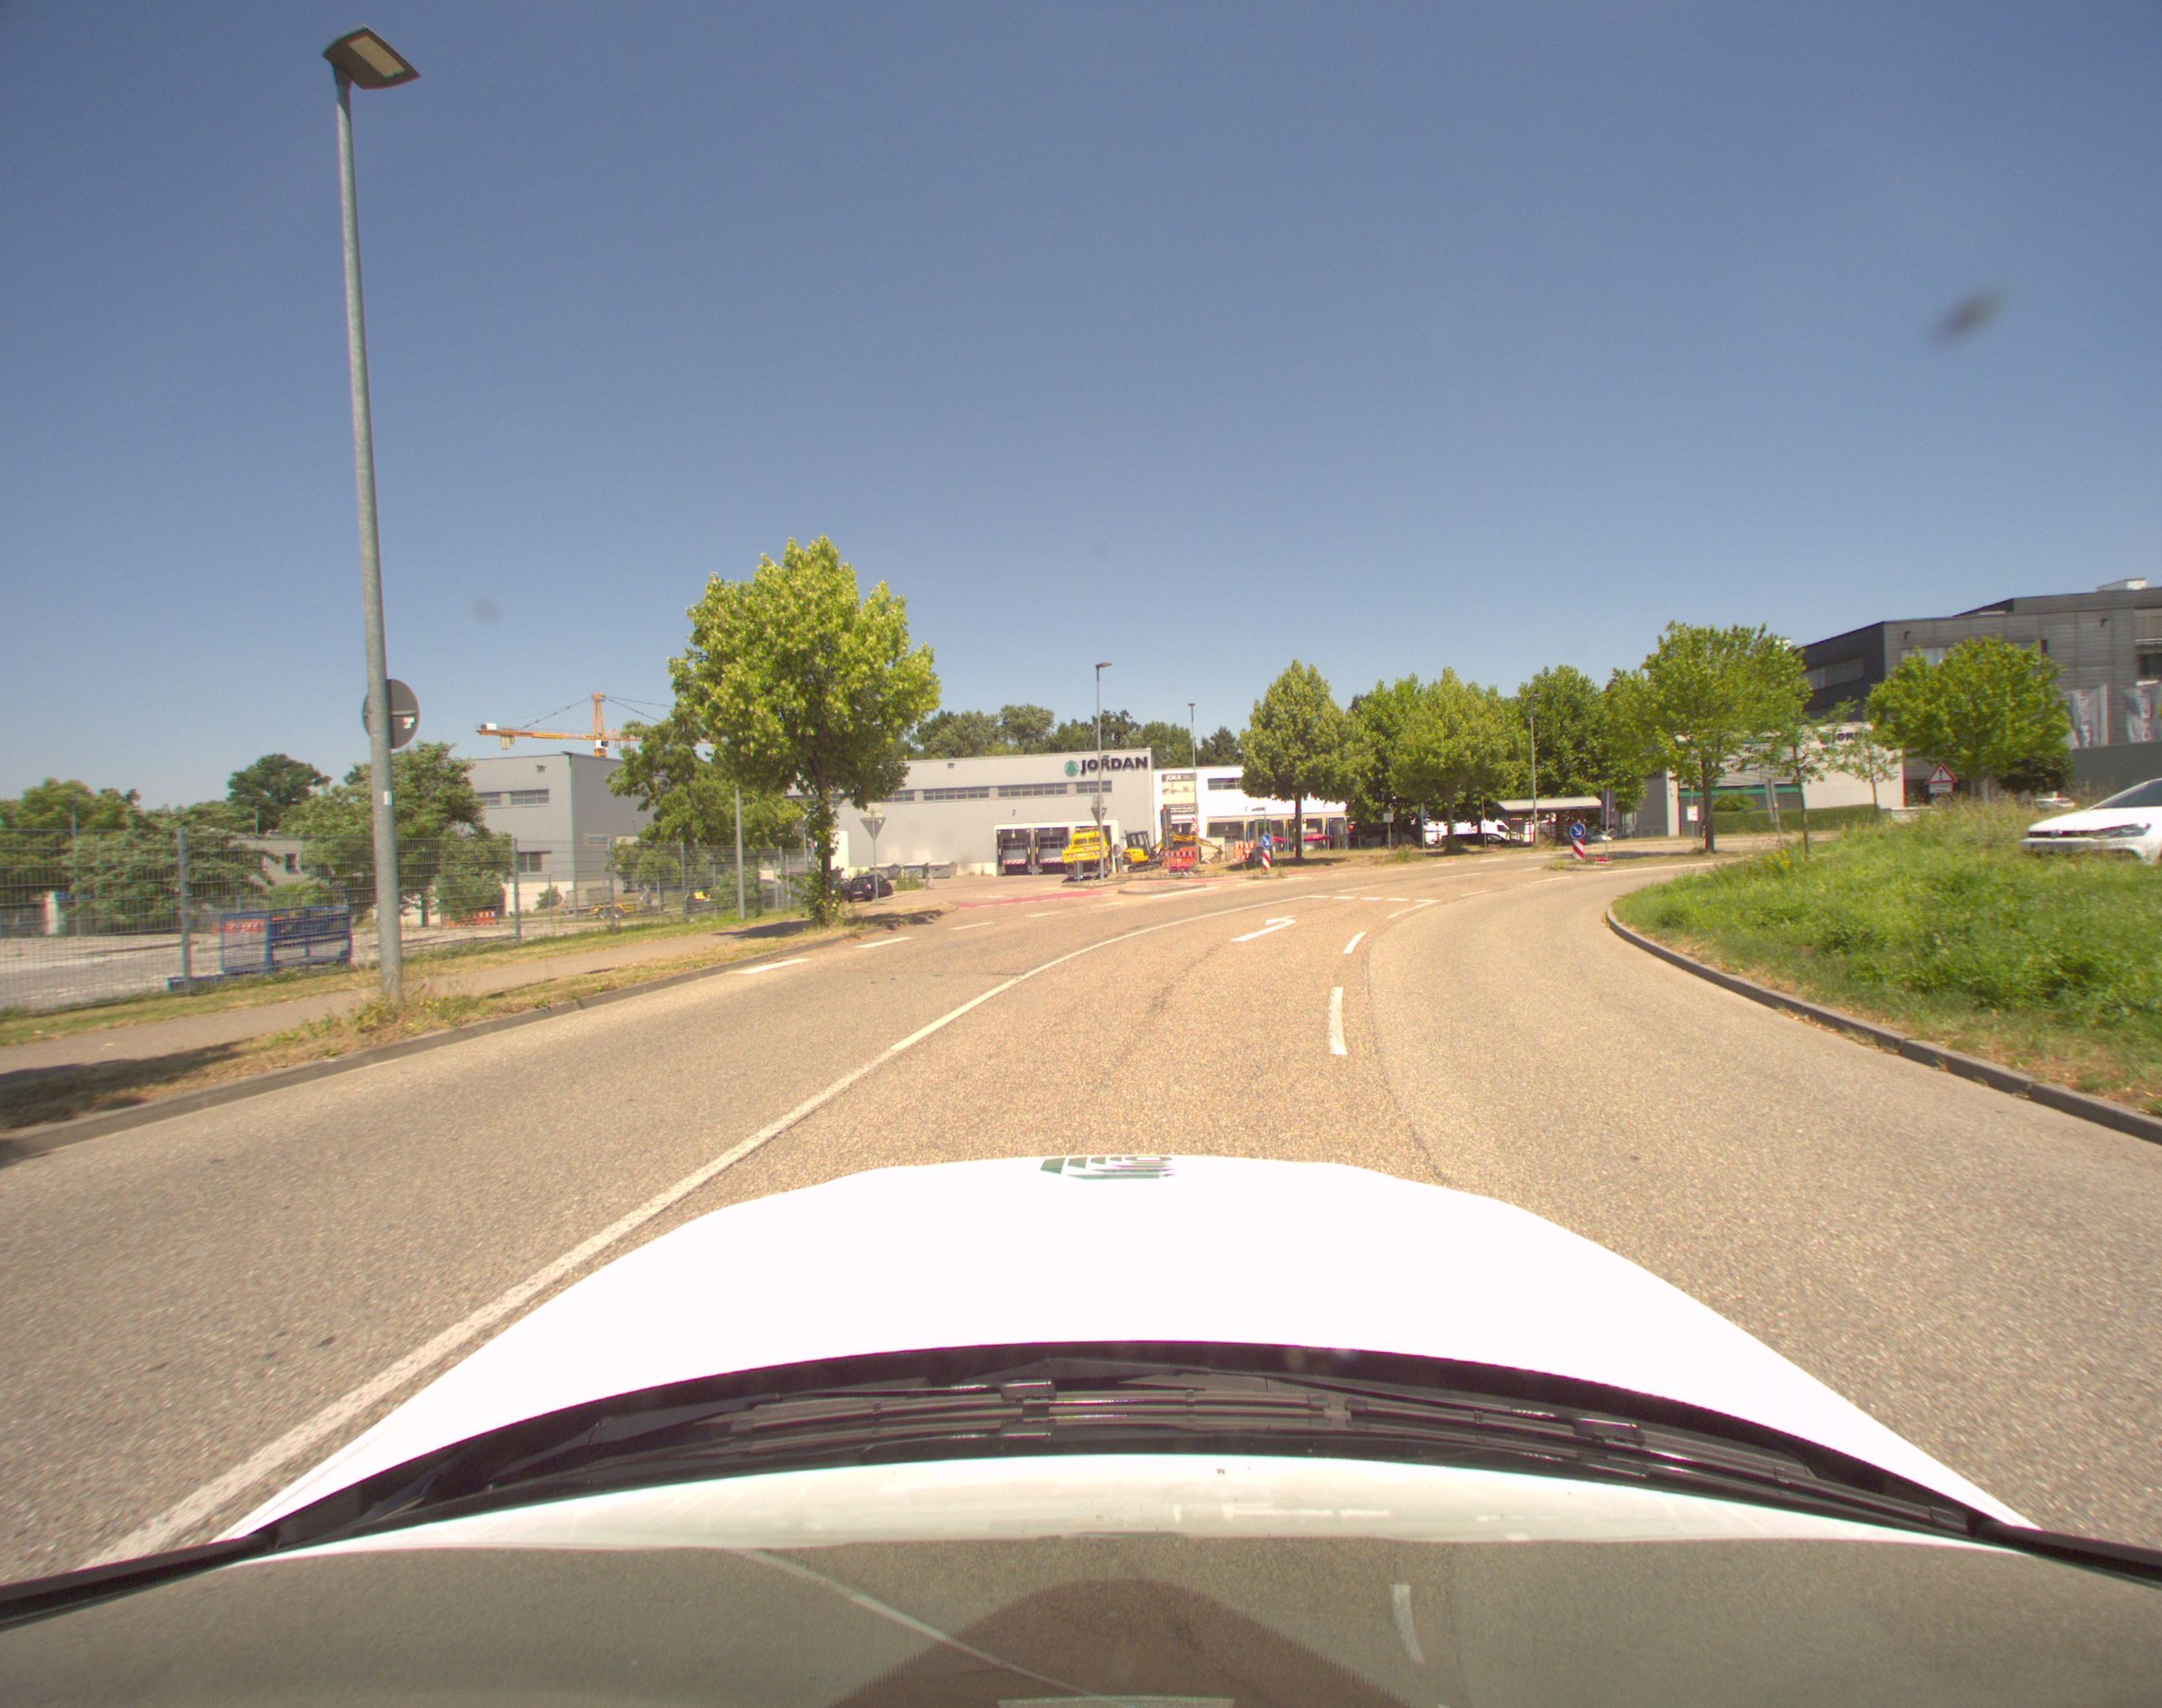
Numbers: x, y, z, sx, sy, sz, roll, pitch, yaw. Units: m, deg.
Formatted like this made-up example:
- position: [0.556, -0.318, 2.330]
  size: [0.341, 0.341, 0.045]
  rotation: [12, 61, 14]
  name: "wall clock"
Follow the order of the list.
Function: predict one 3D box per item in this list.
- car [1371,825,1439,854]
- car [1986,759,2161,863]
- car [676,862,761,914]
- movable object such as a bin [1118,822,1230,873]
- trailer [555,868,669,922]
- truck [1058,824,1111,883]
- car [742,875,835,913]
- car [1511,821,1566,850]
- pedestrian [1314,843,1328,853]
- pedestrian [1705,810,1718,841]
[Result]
- position: [22.400, -0.981, 56.418]
  size: [3.963, 1.728, 1.845]
  rotation: [-3, 0, 9]
  name: "car"
- position: [15.273, -0.601, 11.063]
  size: [3.843, 1.297, 1.578]
  rotation: [-2, -2, 8]
  name: "car"
- position: [-22.417, 2.015, 50.664]
  size: [1.983, 2.732, 5.810]
  rotation: [-3, 1, 7]
  name: "car"
- position: [5.742, -0.368, 50.122]
  size: [6.511, 2.581, 2.007]
  rotation: [-5, -1, 12]
  name: "movable object such as a bin"
- position: [-29.714, 2.567, 51.737]
  size: [5.477, 2.856, 2.668]
  rotation: [-4, 1, 4]
  name: "trailer"
- position: [0.329, -0.159, 50.004]
  size: [2.576, 3.135, 6.433]
  rotation: [-5, 2, 4]
  name: "truck"
- position: [-14.246, 1.954, 39.571]
  size: [4.539, 1.635, 1.882]
  rotation: [-4, -3, 33]
  name: "car"
- position: [33.904, -1.369, 60.520]
  size: [1.540, 2.014, 4.260]
  rotation: [0, -1, -3]
  name: "car"
- position: [17.274, -0.422, 58.637]
  size: [0.855, 0.695, 0.410]
  rotation: [-4, 0, 31]
  name: "pedestrian"
- position: [35.181, -1.596, 45.478]
  size: [0.524, 1.670, 0.583]
  rotation: [-1, -1, 35]
  name: "pedestrian"
